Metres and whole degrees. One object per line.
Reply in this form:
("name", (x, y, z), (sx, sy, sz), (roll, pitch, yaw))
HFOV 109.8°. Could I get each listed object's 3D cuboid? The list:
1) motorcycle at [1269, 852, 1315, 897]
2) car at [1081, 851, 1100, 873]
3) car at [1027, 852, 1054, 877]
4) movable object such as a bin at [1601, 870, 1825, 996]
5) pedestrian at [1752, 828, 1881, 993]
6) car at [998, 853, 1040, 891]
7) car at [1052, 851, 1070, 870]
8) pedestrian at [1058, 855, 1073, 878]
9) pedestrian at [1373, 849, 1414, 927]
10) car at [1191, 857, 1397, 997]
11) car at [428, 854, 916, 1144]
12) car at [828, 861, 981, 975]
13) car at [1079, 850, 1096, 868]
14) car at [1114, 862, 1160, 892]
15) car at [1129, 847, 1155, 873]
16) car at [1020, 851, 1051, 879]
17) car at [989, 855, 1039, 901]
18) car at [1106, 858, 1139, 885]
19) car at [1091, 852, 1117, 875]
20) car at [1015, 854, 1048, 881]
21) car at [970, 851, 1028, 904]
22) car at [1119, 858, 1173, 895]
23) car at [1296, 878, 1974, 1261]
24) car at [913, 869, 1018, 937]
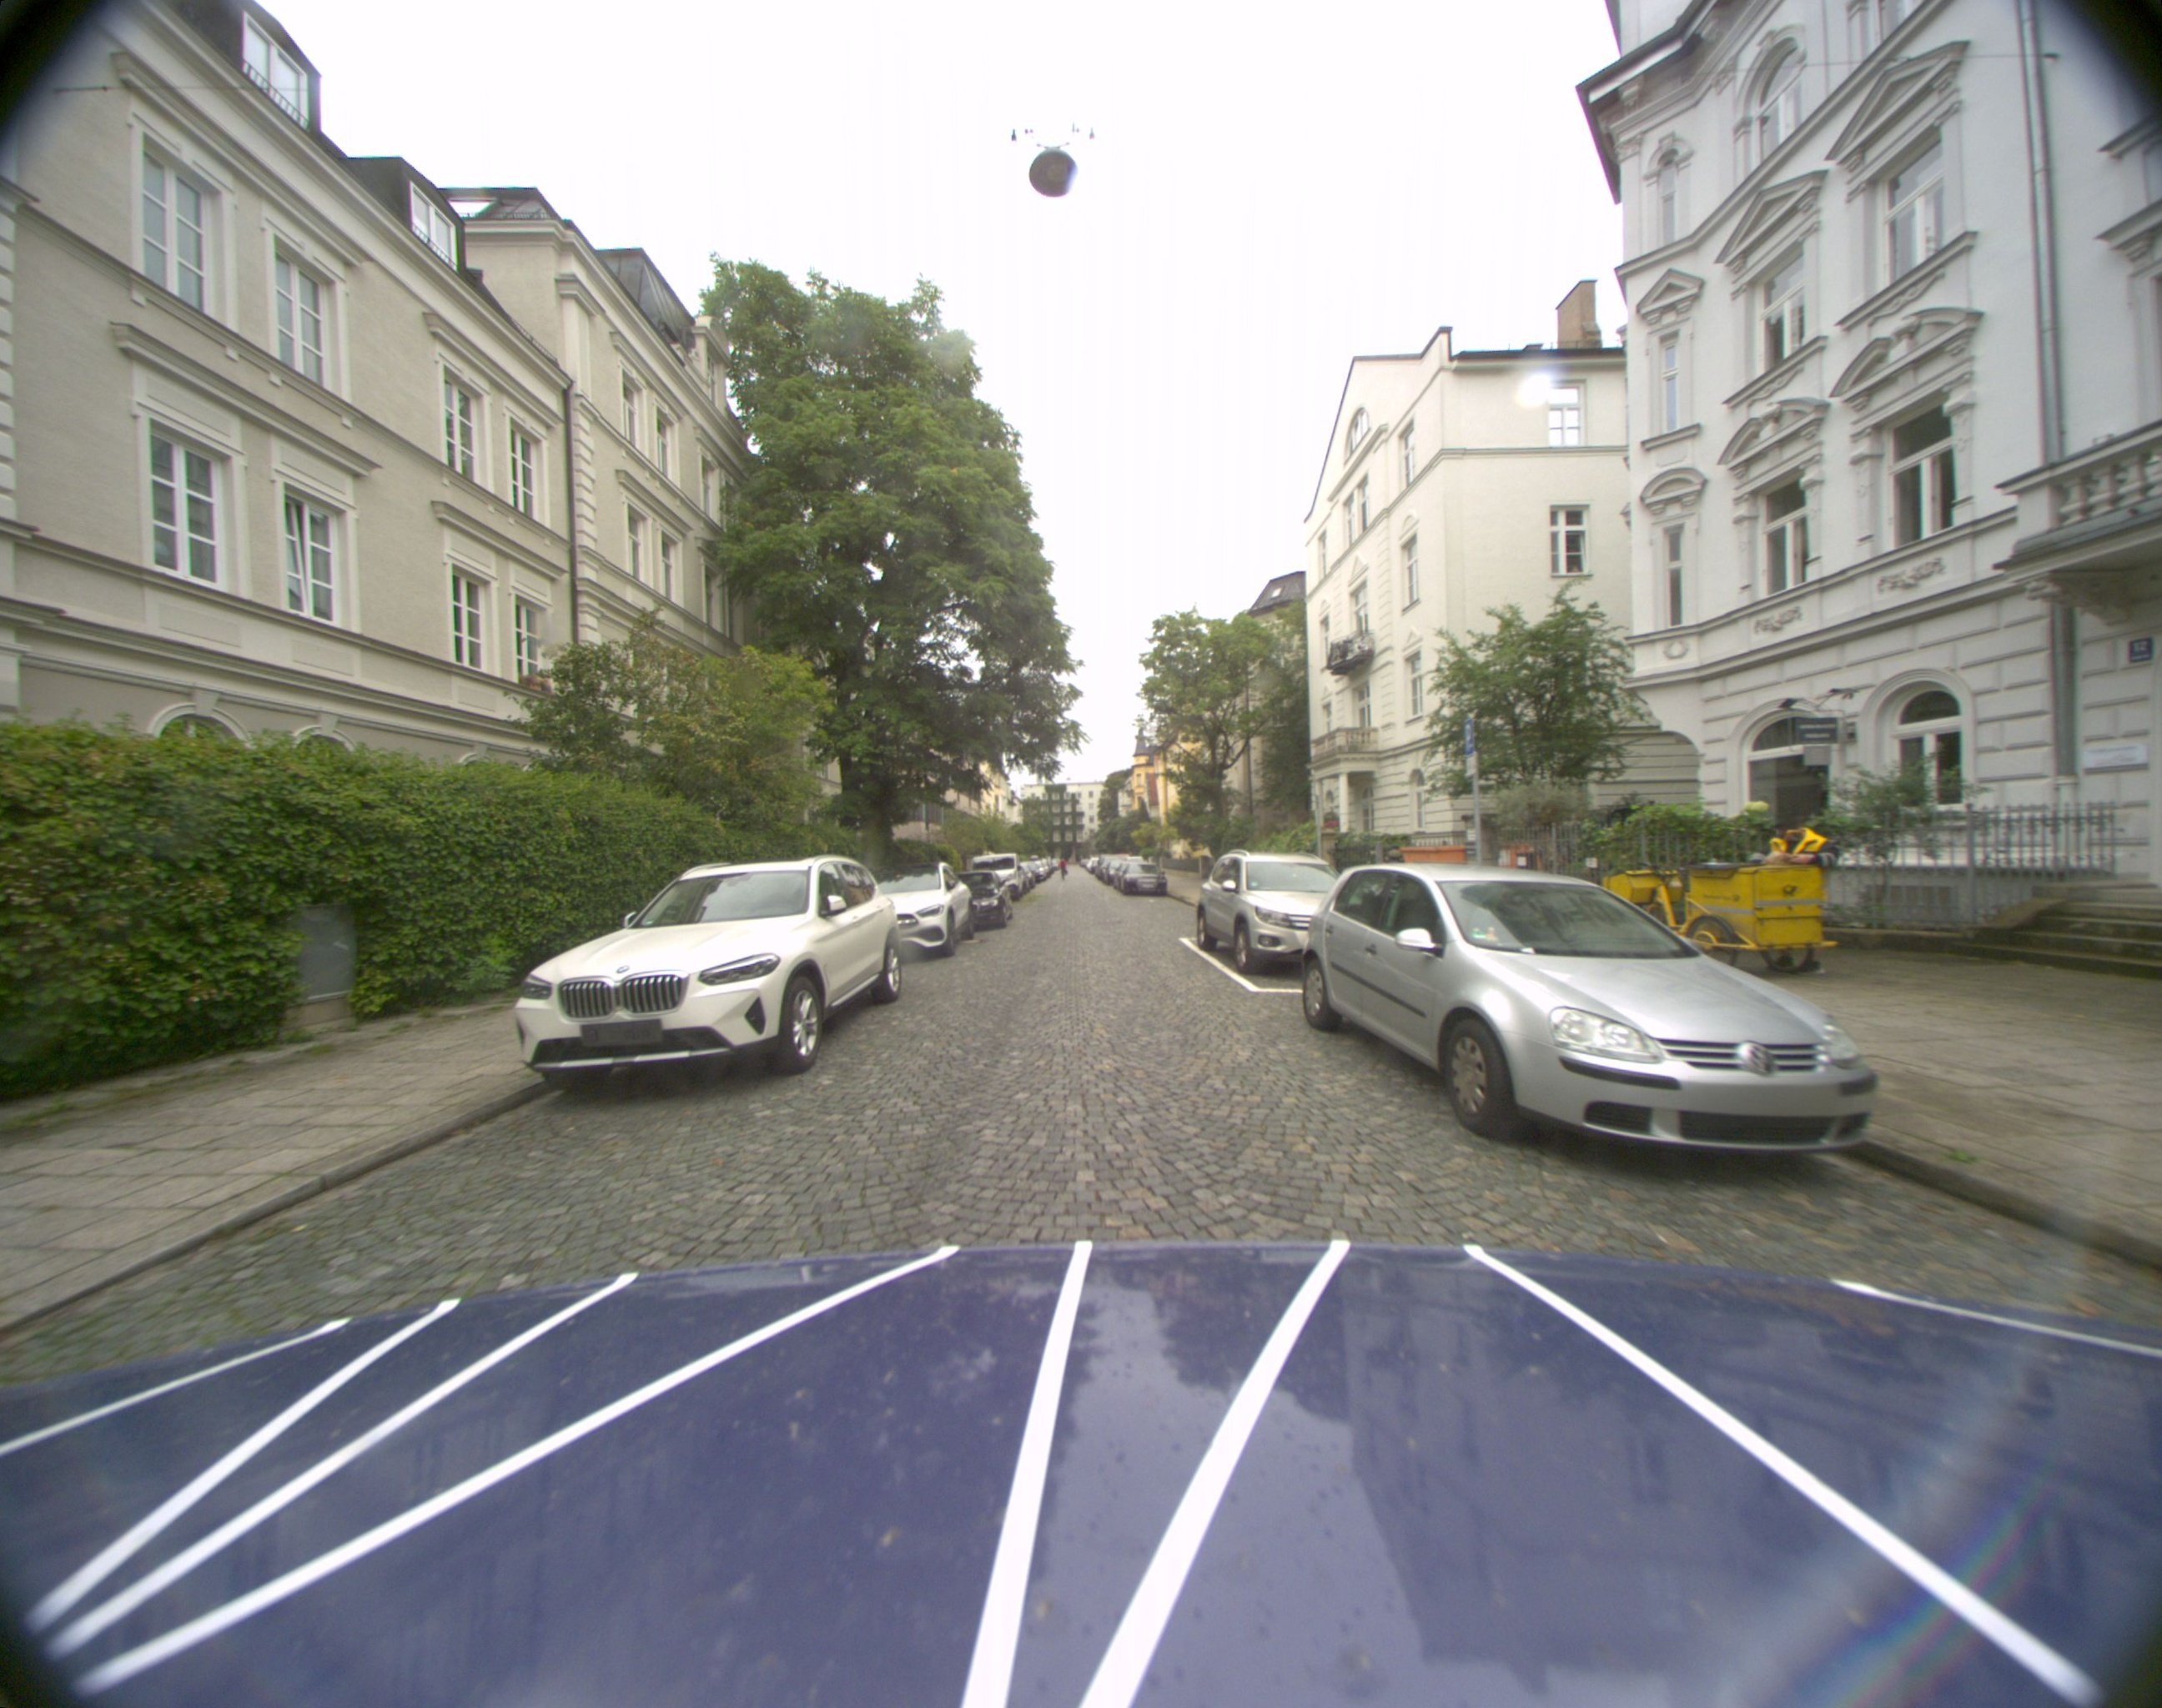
("motorcycle", (7.076, 0.653, 25.592), (0.738, 1.420, 2.244), (-3, 1, -3))
("car", (0.965, 0.778, 76.980), (1.763, 2.002, 3.999), (-2, 1, 0))
("car", (-3.430, 0.897, 65.253), (1.998, 2.002, 3.999), (-2, 1, 0))
("movable object such as a bin", (7.248, 0.825, 8.948), (0.644, 1.159, 2.654), (-2, 1, 6))
("pedestrian", (7.697, 0.569, 7.988), (0.577, 1.637, 0.822), (-1, 0, 6))
("car", (-3.533, 0.991, 43.845), (1.998, 2.002, 3.999), (-2, 1, 0))
("car", (-2.106, 0.705, 82.844), (1.763, 2.002, 3.999), (-2, 1, 0))
("pedestrian", (-1.178, 0.952, 58.599), (1.105, 1.768, 1.263), (-2, 1, 0))
("pedestrian", (6.676, 0.711, 16.212), (0.665, 1.618, 0.670), (-2, 1, 31))
("car", (2.843, 0.873, 11.087), (1.694, 1.563, 4.067), (-2, 1, -2))
("car", (-3.028, 0.903, 7.019), (1.925, 1.676, 4.633), (-2, 1, 0))
("car", (-2.985, 0.995, 13.819), (1.752, 1.591, 4.471), (-2, 1, -1))
("car", (0.752, 0.566, 86.715), (1.791, 2.002, 3.214), (-2, 1, 0))
("car", (2.772, 1.117, 38.256), (1.998, 1.324, 4.000), (-2, 0, 0))
("car", (4.995, 0.438, 62.876), (1.763, 2.002, 3.999), (-2, 1, 0))
("car", (-3.477, 0.847, 58.713), (1.998, 2.002, 3.999), (-2, 1, 0))
("car", (-3.186, 1.123, 37.117), (1.998, 2.002, 3.999), (-2, 1, 0))
("car", (2.461, 1.013, 45.926), (1.714, 1.416, 3.999), (-2, 1, 0))
("car", (1.935, 0.759, 64.970), (1.998, 1.789, 3.999), (-2, 1, 0))
("car", (-3.474, 0.925, 53.780), (1.998, 1.705, 3.999), (-2, 1, 0))
("car", (-3.304, 0.888, 31.390), (1.819, 1.809, 4.808), (-5, 1, -1))
("car", (2.789, 0.931, 33.455), (1.886, 1.411, 4.808), (0, 0, -1))
("car", (2.876, 0.955, 5.082), (1.636, 1.386, 3.815), (-2, 1, -2))
("car", (-2.733, 1.113, 19.040), (1.924, 1.290, 4.808), (-2, 0, -1))
